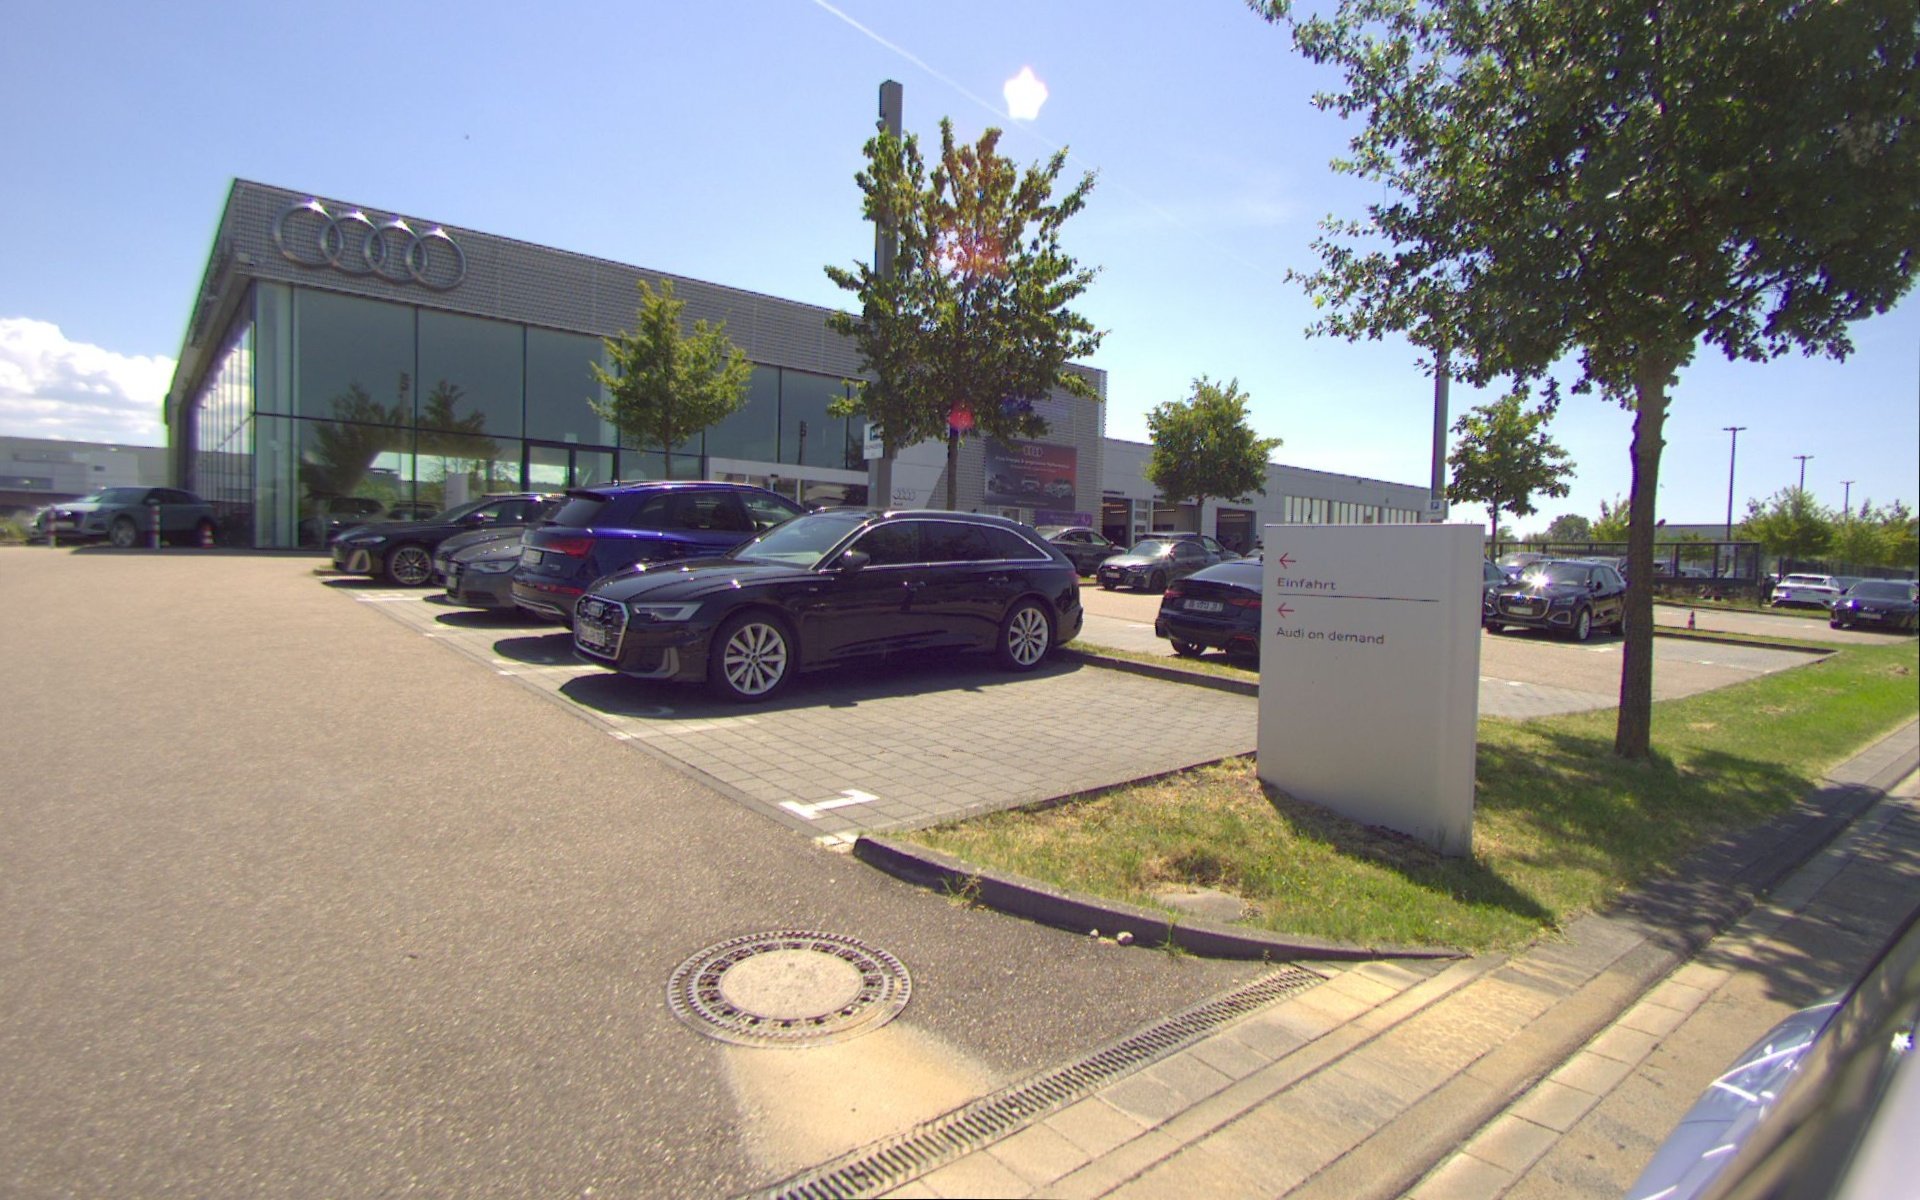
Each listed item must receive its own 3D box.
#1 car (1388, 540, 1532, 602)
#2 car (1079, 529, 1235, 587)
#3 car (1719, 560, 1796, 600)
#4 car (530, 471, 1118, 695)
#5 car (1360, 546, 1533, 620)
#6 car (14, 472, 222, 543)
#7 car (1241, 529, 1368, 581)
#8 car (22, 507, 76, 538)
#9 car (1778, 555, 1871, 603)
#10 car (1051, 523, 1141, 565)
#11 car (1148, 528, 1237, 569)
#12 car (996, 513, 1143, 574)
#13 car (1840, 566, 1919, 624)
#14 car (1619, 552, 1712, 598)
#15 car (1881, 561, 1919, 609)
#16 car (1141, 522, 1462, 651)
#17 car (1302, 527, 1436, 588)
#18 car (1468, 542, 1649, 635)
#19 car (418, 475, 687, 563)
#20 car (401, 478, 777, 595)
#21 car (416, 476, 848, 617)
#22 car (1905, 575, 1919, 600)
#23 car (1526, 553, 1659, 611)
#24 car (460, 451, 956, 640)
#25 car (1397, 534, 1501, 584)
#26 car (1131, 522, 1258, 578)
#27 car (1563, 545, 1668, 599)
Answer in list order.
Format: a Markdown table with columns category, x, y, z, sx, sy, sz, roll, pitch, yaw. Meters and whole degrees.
| category | x | y | z | sx | sy | sz | roll | pitch | yaw |
| --- | --- | --- | --- | --- | --- | --- | --- | --- | --- |
| car | 14.551 | -0.841 | 29.331 | 4.919 | 1.571 | 1.966 | 0 | 5 | -42 |
| car | 5.556 | -1.155 | 28.315 | 4.389 | 1.382 | 1.966 | 0 | 6 | -42 |
| car | 37.309 | -0.940 | 47.322 | 4.546 | 1.649 | 1.966 | 0 | 5 | -42 |
| car | -0.970 | -0.274 | 8.982 | 4.900 | 1.473 | 1.966 | -3 | 6 | -41 |
| car | 10.931 | -0.391 | 22.626 | 4.154 | 1.382 | 1.966 | 0 | 6 | -42 |
| car | -20.583 | -2.262 | 25.007 | 1.929 | 1.573 | 4.066 | 1 | 5 | -4 |
| car | 11.170 | -1.437 | 32.660 | 4.297 | 1.494 | 1.966 | 0 | 5 | -42 |
| car | -50.380 | -4.299 | 56.007 | 1.964 | 1.625 | 4.057 | -2 | 6 | -39 |
| car | 31.316 | -0.749 | 36.617 | 4.860 | 1.546 | 1.824 | 0 | 5 | -42 |
| car | 6.803 | -2.848 | 50.916 | 1.932 | 1.762 | 4.254 | 0 | 6 | -39 |
| car | 12.034 | -2.723 | 52.664 | 1.929 | 1.762 | 4.260 | 1 | 6 | -33 |
| car | 3.451 | -1.741 | 31.547 | 4.347 | 1.610 | 1.968 | 0 | 6 | -39 |
| car | 27.777 | -0.158 | 29.970 | 4.937 | 1.472 | 1.884 | 0 | 5 | -42 |
| car | 28.232 | -1.002 | 40.436 | 4.546 | 1.649 | 1.966 | 0 | 5 | -42 |
| car | 32.912 | -0.467 | 34.260 | 4.860 | 1.485 | 1.966 | 0 | 5 | -42 |
| car | 4.751 | -0.175 | 13.734 | 4.637 | 1.382 | 1.967 | 1 | 5 | -41 |
| car | 12.302 | -1.248 | 30.330 | 4.215 | 1.632 | 1.966 | 0 | 5 | -42 |
| car | 12.292 | -0.259 | 20.688 | 4.154 | 1.589 | 1.892 | 0 | 6 | -42 |
| car | -8.453 | -1.678 | 21.287 | 4.900 | 1.639 | 1.966 | -3 | 6 | -41 |
| car | -5.368 | -0.963 | 15.088 | 4.900 | 1.473 | 1.966 | -3 | 6 | -41 |
| car | -4.022 | -0.728 | 12.972 | 4.900 | 1.473 | 1.966 | -3 | 6 | -41 |
| car | 56.421 | -0.679 | 58.639 | 4.097 | 1.373 | 1.780 | -1 | 5 | -39 |
| car | 17.615 | -0.485 | 28.109 | 4.237 | 1.391 | 1.966 | 1 | 4 | -42 |
| car | -2.545 | -0.630 | 11.038 | 4.900 | 1.616 | 1.966 | -3 | 6 | -41 |
| car | 19.350 | -1.596 | 39.944 | 4.546 | 1.762 | 1.966 | 0 | 6 | -42 |
| car | 8.275 | -1.733 | 35.549 | 4.647 | 1.759 | 1.966 | 0 | 5 | -42 |
| car | 23.239 | -1.012 | 35.826 | 4.704 | 1.662 | 1.829 | -1 | 7 | -42 |
